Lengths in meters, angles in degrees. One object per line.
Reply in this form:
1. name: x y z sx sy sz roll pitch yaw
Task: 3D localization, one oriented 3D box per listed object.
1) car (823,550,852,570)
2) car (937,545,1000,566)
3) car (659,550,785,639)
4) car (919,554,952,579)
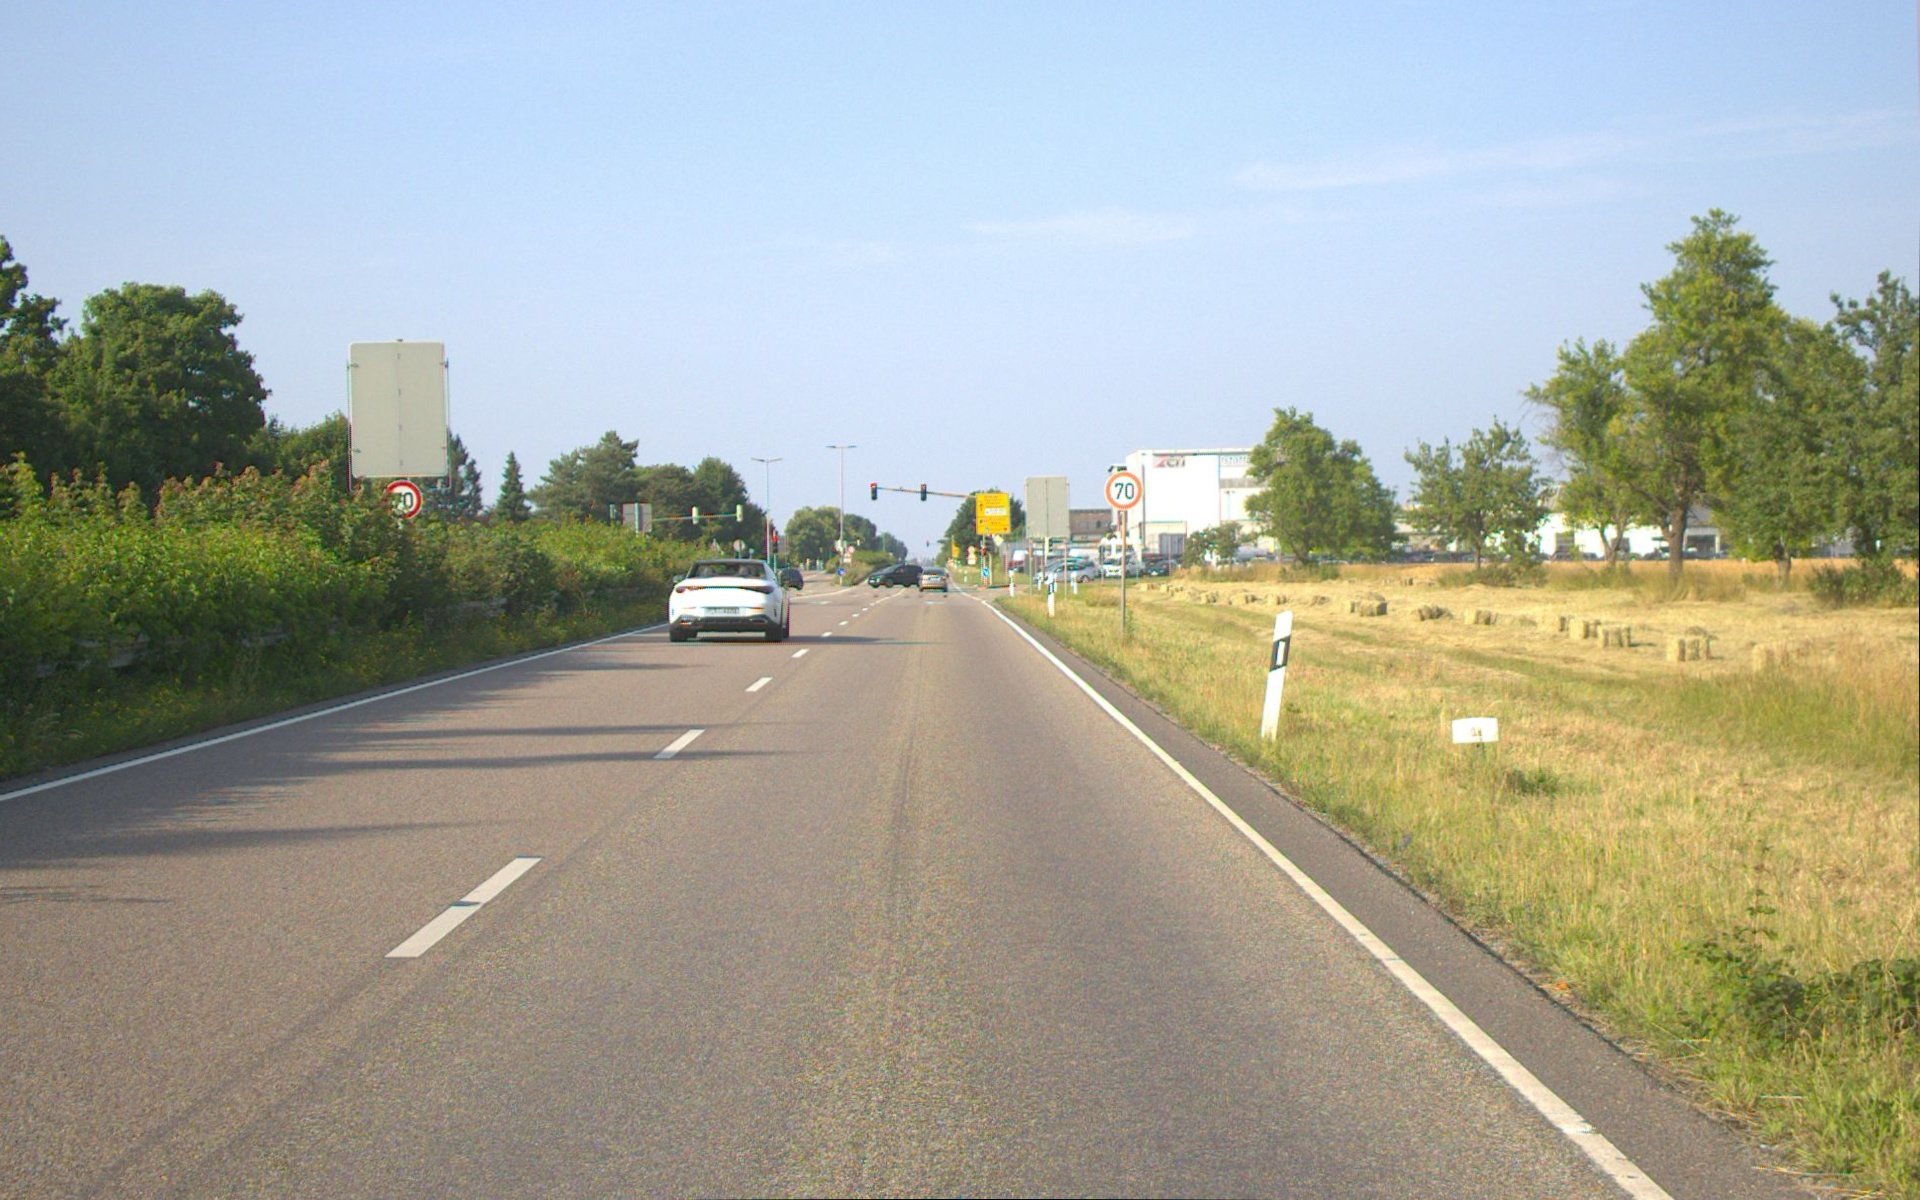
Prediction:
1. car: -8.952 -2.941 252.418 1.947 1.403 4.000 0 1 0
2. car: 0.586 -3.106 240.718 3.986 1.403 1.954 0 1 -20
3. car: -3.945 -0.118 57.569 1.909 1.417 4.000 0 1 -1
4. car: -1.496 -2.054 209.852 1.993 1.481 4.000 0 1 -1
